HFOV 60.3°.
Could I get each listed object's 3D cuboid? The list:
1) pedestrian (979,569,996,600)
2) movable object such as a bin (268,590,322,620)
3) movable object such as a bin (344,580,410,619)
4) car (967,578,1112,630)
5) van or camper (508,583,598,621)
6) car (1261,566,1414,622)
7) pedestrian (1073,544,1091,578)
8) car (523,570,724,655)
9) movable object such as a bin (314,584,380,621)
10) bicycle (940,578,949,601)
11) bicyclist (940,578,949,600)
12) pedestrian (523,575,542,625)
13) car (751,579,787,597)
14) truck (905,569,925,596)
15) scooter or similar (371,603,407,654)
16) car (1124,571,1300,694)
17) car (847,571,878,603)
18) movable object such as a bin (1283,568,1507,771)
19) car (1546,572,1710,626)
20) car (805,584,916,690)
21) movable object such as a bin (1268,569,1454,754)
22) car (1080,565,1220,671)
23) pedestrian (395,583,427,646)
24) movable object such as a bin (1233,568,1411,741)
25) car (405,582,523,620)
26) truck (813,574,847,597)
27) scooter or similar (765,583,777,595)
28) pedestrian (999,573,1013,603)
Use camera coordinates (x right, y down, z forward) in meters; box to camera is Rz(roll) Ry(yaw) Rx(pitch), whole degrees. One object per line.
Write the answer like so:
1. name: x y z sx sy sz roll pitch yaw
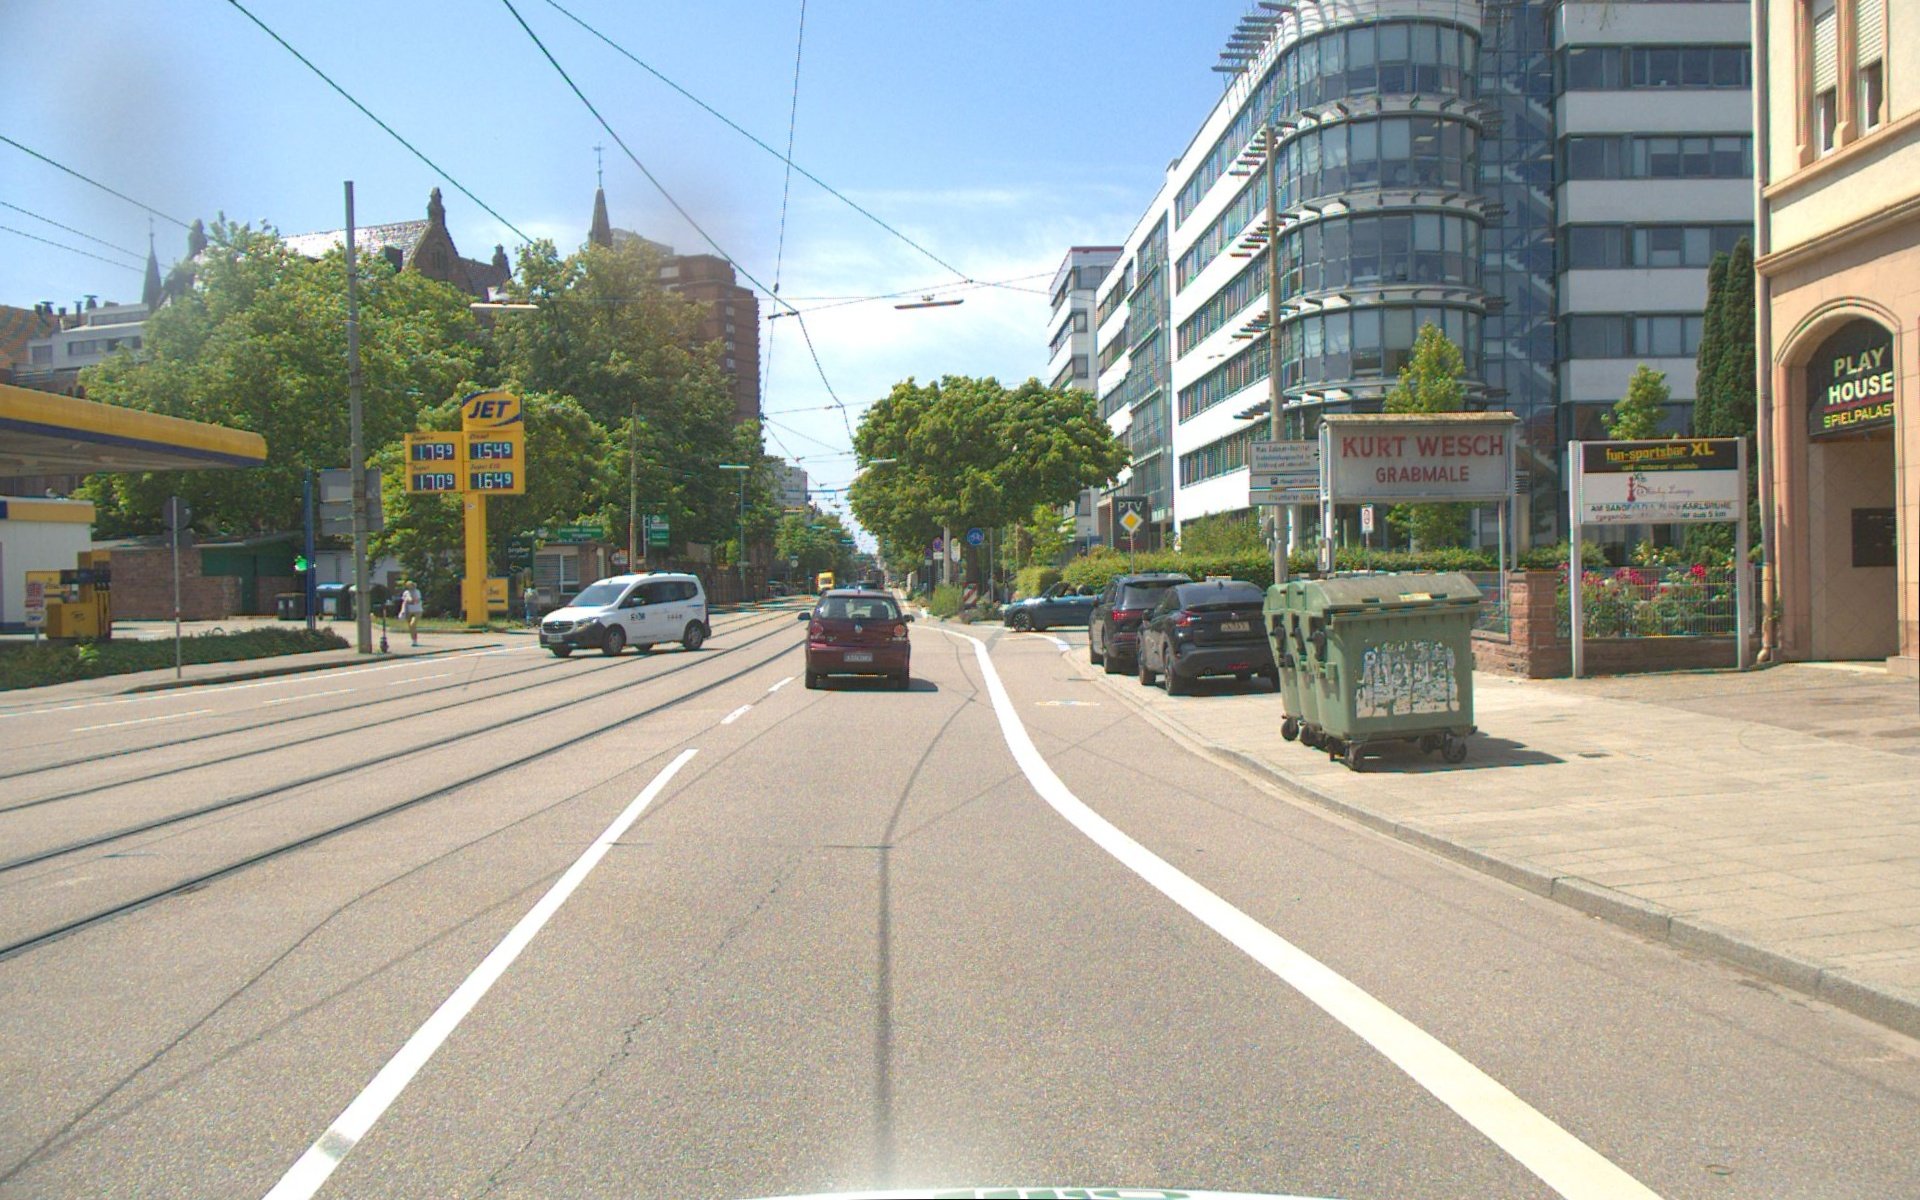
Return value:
1. pedestrian: 1.651 -0.918 98.986 0.671 1.827 0.667 -3 1 -34
2. movable object such as a bin: -27.244 0.196 67.754 1.375 1.157 1.564 1 1 22
3. movable object such as a bin: -23.519 -0.022 66.769 1.490 1.535 2.099 1 1 22
4. car: 2.305 0.119 47.941 3.834 1.395 1.703 -1 0 22
5. van or camper: -18.747 0.092 76.246 3.708 1.657 1.871 0 2 -3
6. car: 10.960 -0.178 48.223 4.063 1.485 1.818 -1 1 1
7. pedestrian: 6.521 -2.074 88.255 0.855 1.744 1.090 -3 0 7
8. car: -7.769 0.238 38.545 1.958 1.831 4.539 0 1 34
9. movable object such as a bin: -24.961 0.073 67.391 1.490 1.457 2.099 1 1 22
10. bicycle: -1.319 -0.882 139.422 0.675 1.816 1.811 -3 0 1
11. bicyclist: -1.323 -0.892 139.411 0.682 1.830 0.888 -3 0 1
12. pedestrian: -15.556 -0.014 60.169 0.568 1.806 0.699 0 1 -6
13. car: -22.359 -1.442 193.461 3.904 2.049 2.001 -1 1 2
14. truck: -4.691 -1.850 170.752 1.953 2.708 4.873 0 1 -3
15. scooter or similar: -14.214 0.703 41.193 0.508 1.221 1.375 0 1 -5
16. car: 3.638 0.433 24.612 1.737 1.575 4.466 -3 0 -2
17. car: -6.371 -0.882 107.775 1.954 2.049 3.997 0 1 -4
18. movable object such as a bin: 3.458 0.524 13.283 1.365 1.480 1.138 -3 1 -6
19. car: 19.397 -0.042 48.134 4.066 1.433 1.766 -1 1 -4
20. car: -1.635 0.525 26.142 1.588 1.512 3.995 0 1 -6
21. movable object such as a bin: 3.466 0.507 14.399 1.223 1.480 1.057 -3 1 -6
22. car: 3.442 0.275 30.877 1.885 1.722 5.081 -3 1 -1
23. pedestrian: -15.136 0.397 45.615 0.612 1.720 0.722 -1 1 2
24. movable object such as a bin: 3.360 0.481 15.463 1.298 1.480 1.057 -3 1 -6
25. car: -20.303 0.017 67.868 1.897 1.514 4.432 1 1 37
26. truck: -16.641 -1.841 212.120 2.319 2.835 7.326 -1 1 13
27. scooter or similar: -19.043 -1.105 166.589 1.074 1.175 0.523 0 1 -24
28. pedestrian: 2.753 -0.731 98.859 0.532 1.744 0.559 -3 0 -32
